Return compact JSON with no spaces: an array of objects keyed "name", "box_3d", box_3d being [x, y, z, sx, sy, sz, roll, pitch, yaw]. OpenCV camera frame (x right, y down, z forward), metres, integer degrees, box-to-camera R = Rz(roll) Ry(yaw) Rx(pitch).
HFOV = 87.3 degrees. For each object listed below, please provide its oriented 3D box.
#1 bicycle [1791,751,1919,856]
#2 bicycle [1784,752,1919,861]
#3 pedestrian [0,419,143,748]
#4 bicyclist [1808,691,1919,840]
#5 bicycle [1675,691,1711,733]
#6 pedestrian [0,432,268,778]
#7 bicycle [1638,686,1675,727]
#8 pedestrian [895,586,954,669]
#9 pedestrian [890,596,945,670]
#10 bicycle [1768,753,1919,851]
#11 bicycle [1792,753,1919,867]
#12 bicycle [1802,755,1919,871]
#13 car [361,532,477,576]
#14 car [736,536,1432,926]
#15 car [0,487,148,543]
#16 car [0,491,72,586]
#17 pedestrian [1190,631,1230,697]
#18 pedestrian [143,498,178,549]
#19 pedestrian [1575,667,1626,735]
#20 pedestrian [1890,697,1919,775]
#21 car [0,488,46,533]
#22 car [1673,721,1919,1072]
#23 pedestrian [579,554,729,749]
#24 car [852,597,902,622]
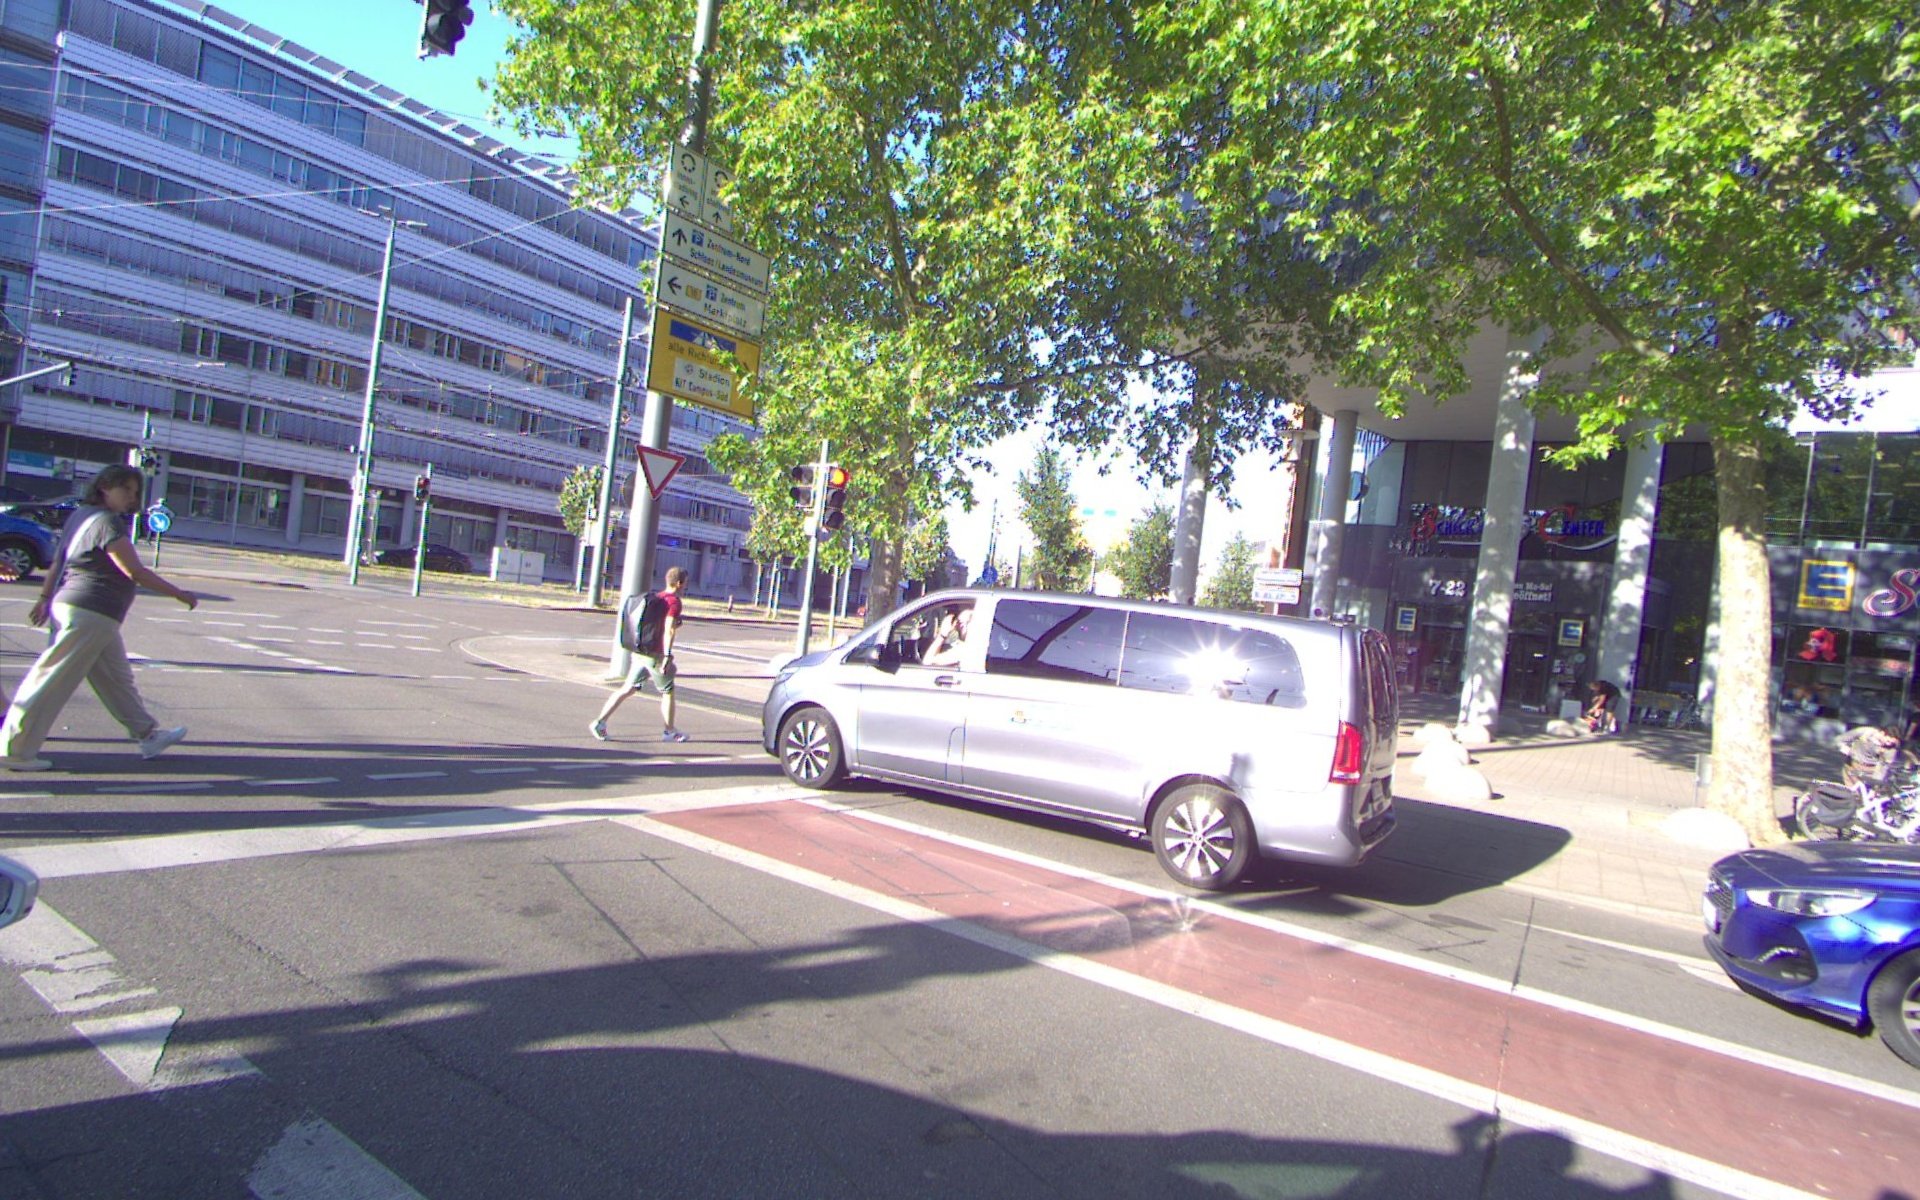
[{"name":"bicycle","box_3d":[11.312,2.526,12.562,0.393,1.038,1.305,6,1,-42]},{"name":"bicycle","box_3d":[10.935,2.479,12.220,0.393,1.038,1.305,6,1,-42]},{"name":"pedestrian","box_3d":[-5.956,-0.121,6.081,0.818,1.915,1.149,7,-1,25]},{"name":"bicyclist","box_3d":[12.012,2.177,13.319,0.744,1.790,0.845,6,1,-31]},{"name":"bicycle","box_3d":[22.393,3.423,30.717,0.709,1.142,1.912,7,0,39]},{"name":"pedestrian","box_3d":[-5.015,0.045,5.975,0.744,1.827,1.075,7,-1,25]},{"name":"bicycle","box_3d":[21.685,3.310,31.288,0.709,1.142,1.912,7,0,39]},{"name":"pedestrian","box_3d":[-0.855,0.665,24.099,0.855,1.841,0.845,7,-1,39]},{"name":"pedestrian","box_3d":[-1.064,0.830,25.296,0.855,1.701,0.845,7,-1,39]},{"name":"bicycle","box_3d":[12.052,2.675,13.148,0.661,0.945,2.167,7,0,-30]},{"name":"bicycle","box_3d":[10.394,2.374,11.230,1.545,1.038,0.461,7,1,29]},{"name":"bicycle","box_3d":[10.146,2.332,10.794,1.545,1.038,0.461,7,1,29]},{"name":"car","box_3d":[-24.523,-2.068,45.744,1.768,1.409,4.241,7,0,36]},{"name":"car","box_3d":[0.839,0.792,8.164,5.053,1.988,1.997,7,-2,32]},{"name":"car","box_3d":[-33.201,-3.152,37.431,1.762,1.452,4.253,7,0,22]},{"name":"car","box_3d":[-17.033,-1.209,15.915,1.965,1.474,3.961,7,0,28]},{"name":"pedestrian","box_3d":[6.670,1.710,26.860,0.694,1.662,0.775,7,1,27]},{"name":"pedestrian","box_3d":[-28.735,-2.736,36.147,0.549,1.701,0.719,7,-1,39]},{"name":"pedestrian","box_3d":[17.159,2.698,26.973,0.952,1.662,0.864,7,1,31]},{"name":"pedestrian","box_3d":[24.038,3.424,25.111,0.990,1.867,0.844,6,1,-33]},{"name":"car","box_3d":[-37.035,-3.571,37.543,1.763,1.525,3.870,7,0,25]},{"name":"car","box_3d":[6.142,1.686,4.850,4.147,1.482,1.767,7,0,32]},{"name":"pedestrian","box_3d":[-2.935,0.506,9.720,0.617,1.735,1.076,7,-1,28]},{"name":"car","box_3d":[-6.386,0.730,77.371,1.768,1.484,3.595,7,0,37]}]
